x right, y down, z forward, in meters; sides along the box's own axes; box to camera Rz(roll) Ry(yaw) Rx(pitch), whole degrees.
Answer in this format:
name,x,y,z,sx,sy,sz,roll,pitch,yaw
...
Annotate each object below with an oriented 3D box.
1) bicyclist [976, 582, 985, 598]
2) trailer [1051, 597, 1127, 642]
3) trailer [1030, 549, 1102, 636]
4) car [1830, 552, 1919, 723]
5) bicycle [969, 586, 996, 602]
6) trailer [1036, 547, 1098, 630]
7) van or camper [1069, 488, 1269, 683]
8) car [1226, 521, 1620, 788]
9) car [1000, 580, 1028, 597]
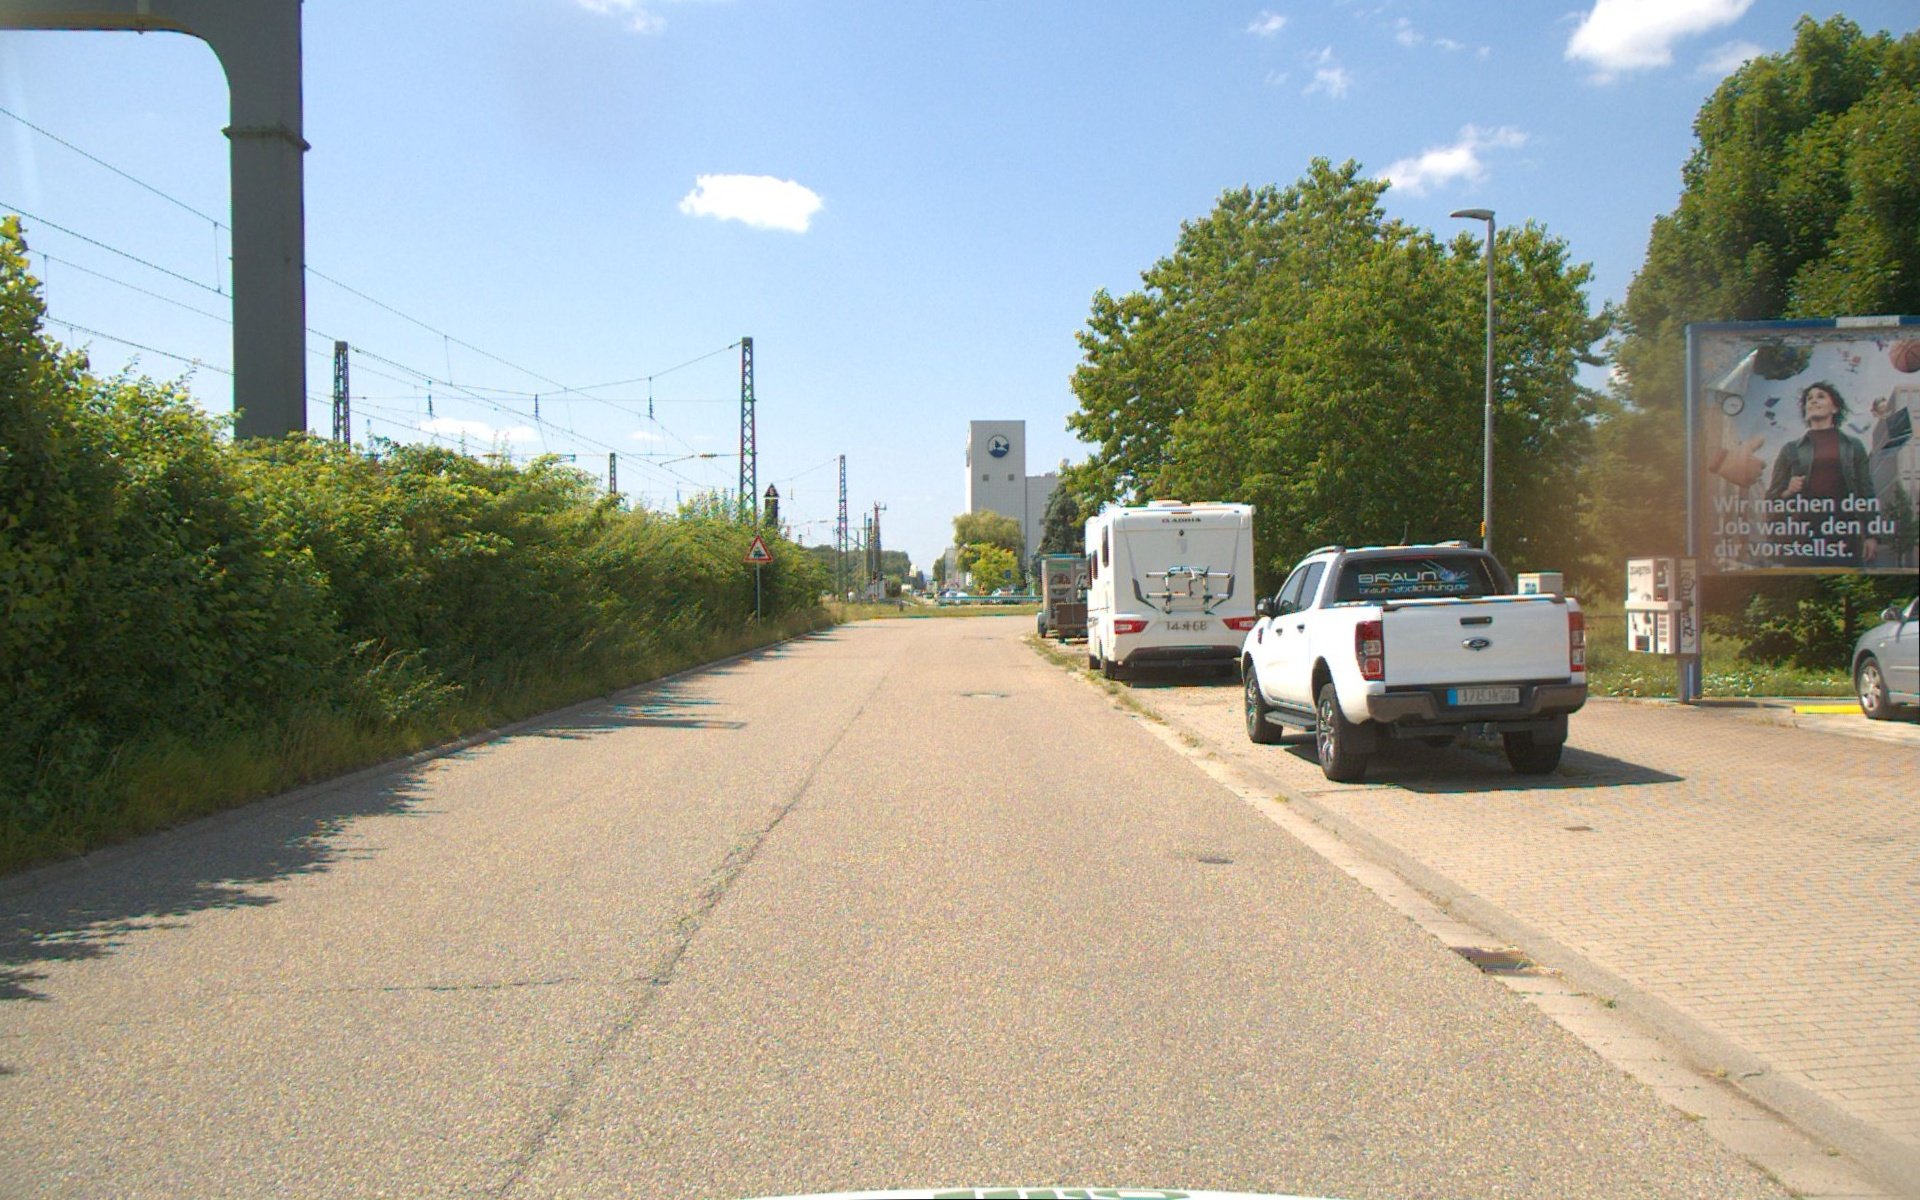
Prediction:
name,x,y,z,sx,sy,sz,roll,pitch,yaw
bicyclist,1.632,-0.779,130.147,0.500,1.277,0.468,0,1,32
trailer,3.682,0.543,47.832,1.963,1.142,4.490,-3,0,2
trailer,3.356,-0.255,53.227,1.880,2.552,4.741,-3,0,0
car,9.334,0.303,14.319,1.865,1.505,4.003,-2,0,7
bicycle,1.746,-0.478,130.093,2.101,1.185,0.660,0,1,32
trailer,3.817,-0.430,58.333,1.892,2.690,5.187,-3,0,5
van or camper,3.438,-0.252,28.976,2.389,2.876,7.622,-2,0,0
car,3.752,0.369,14.554,1.810,1.846,5.424,-2,0,-1
car,4.888,-1.066,151.424,1.955,1.536,4.449,-1,1,-6
